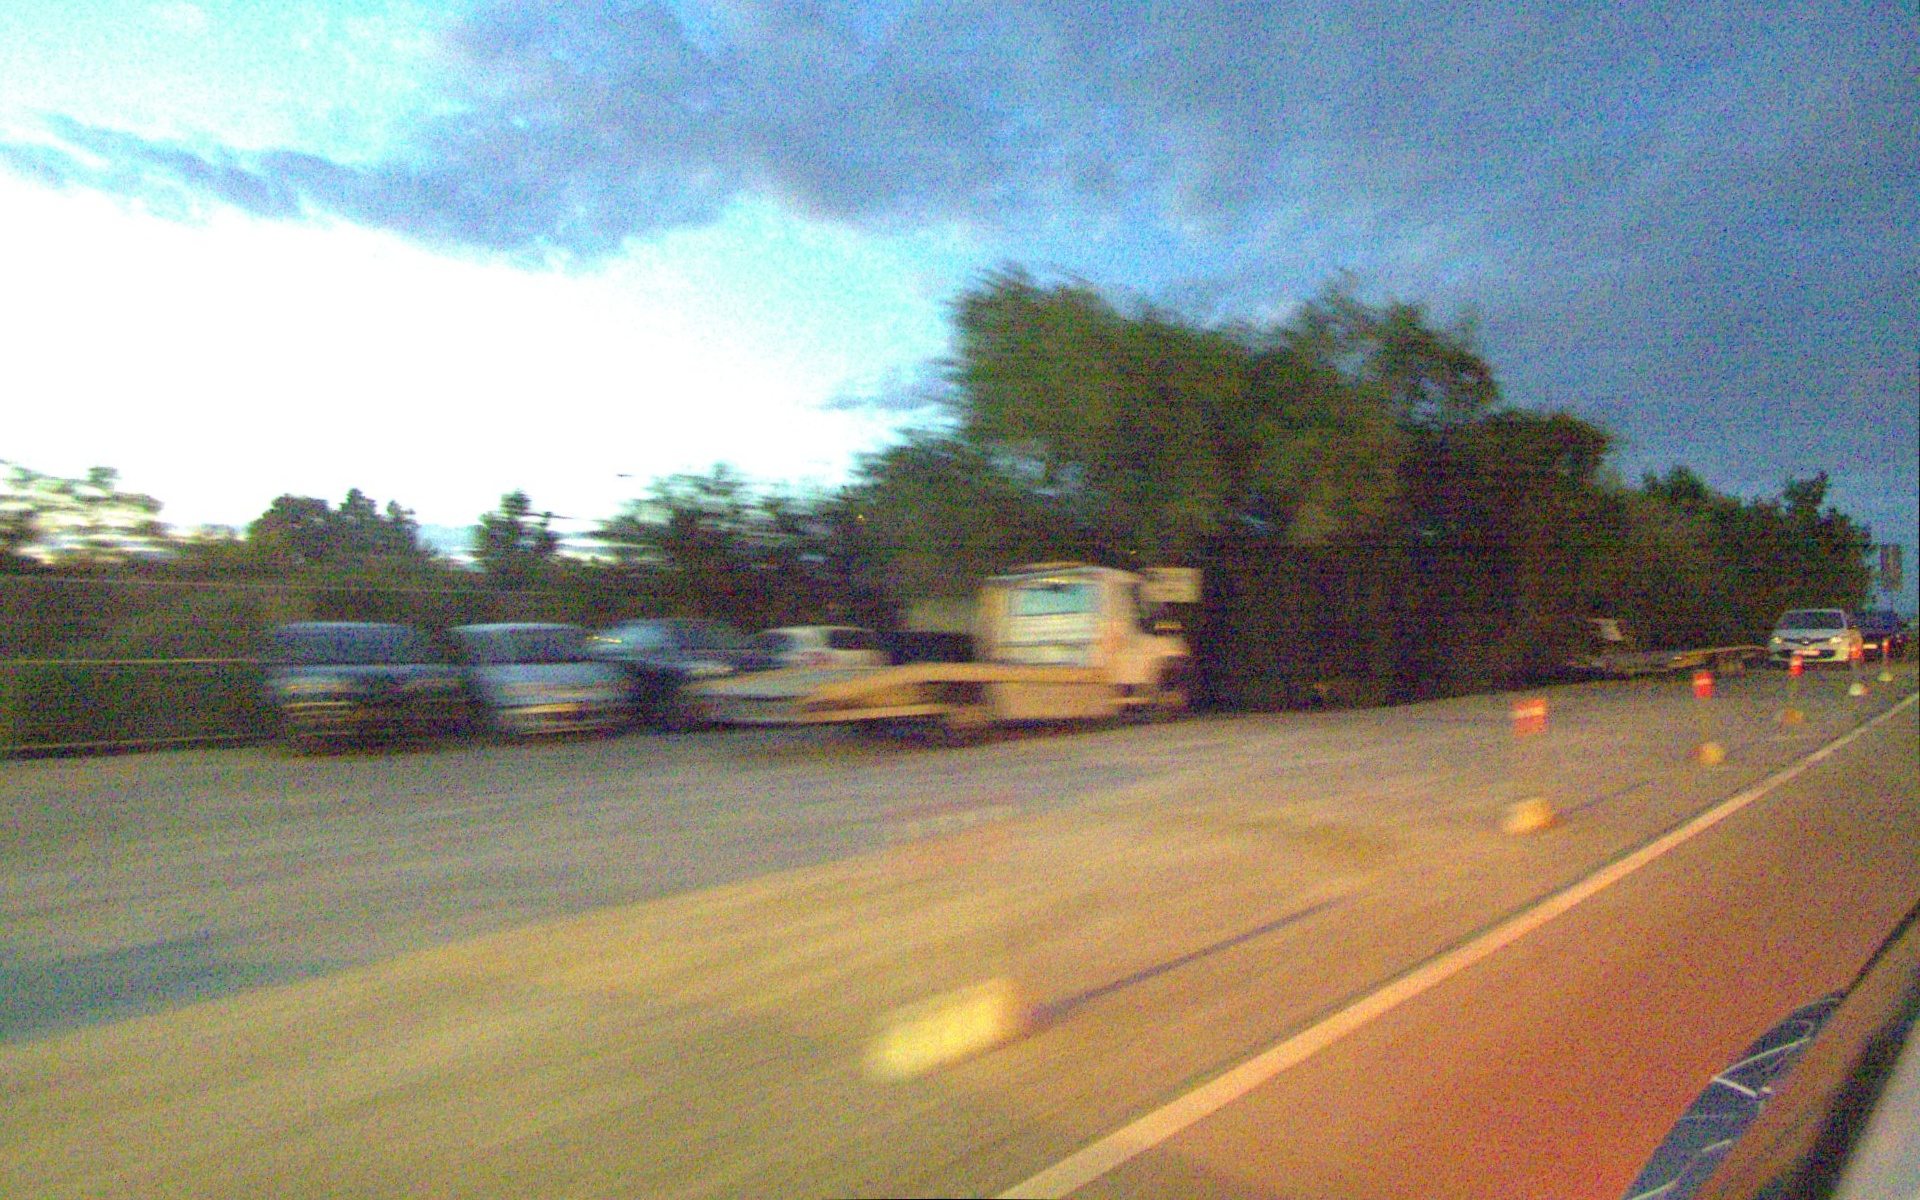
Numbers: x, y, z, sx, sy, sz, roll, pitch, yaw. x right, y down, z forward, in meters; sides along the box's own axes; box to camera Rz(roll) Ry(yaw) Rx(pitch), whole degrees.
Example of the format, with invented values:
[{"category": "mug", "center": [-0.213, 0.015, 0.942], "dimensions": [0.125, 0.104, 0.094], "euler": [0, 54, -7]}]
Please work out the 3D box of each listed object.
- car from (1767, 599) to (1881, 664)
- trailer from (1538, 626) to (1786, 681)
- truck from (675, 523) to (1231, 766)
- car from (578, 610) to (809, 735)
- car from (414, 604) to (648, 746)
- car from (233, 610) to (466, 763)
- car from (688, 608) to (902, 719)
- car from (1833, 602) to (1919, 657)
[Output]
[{"category": "car", "center": [22.650, 0.801, 26.489], "dimensions": [3.935, 1.572, 1.935], "euler": [1, -2, -45]}, {"category": "trailer", "center": [15.947, 1.126, 22.609], "dimensions": [9.445, 0.979, 2.177], "euler": [1, -3, -40]}, {"category": "truck", "center": [0.373, 0.458, 13.119], "dimensions": [7.613, 2.313, 2.380], "euler": [0, -2, -43]}, {"category": "car", "center": [-4.039, 0.959, 14.944], "dimensions": [1.868, 1.581, 3.863], "euler": [0, -1, -39]}, {"category": "car", "center": [-5.837, 0.895, 13.546], "dimensions": [1.680, 1.616, 3.859], "euler": [1, -2, -43]}, {"category": "car", "center": [-7.488, 0.917, 12.254], "dimensions": [1.680, 1.535, 3.859], "euler": [1, -1, -43]}, {"category": "car", "center": [-2.849, 0.967, 16.871], "dimensions": [1.680, 1.625, 3.859], "euler": [1, -2, -43]}, {"category": "car", "center": [28.097, 0.899, 30.850], "dimensions": [1.993, 1.572, 4.257], "euler": [-2, -3, 44]}]
